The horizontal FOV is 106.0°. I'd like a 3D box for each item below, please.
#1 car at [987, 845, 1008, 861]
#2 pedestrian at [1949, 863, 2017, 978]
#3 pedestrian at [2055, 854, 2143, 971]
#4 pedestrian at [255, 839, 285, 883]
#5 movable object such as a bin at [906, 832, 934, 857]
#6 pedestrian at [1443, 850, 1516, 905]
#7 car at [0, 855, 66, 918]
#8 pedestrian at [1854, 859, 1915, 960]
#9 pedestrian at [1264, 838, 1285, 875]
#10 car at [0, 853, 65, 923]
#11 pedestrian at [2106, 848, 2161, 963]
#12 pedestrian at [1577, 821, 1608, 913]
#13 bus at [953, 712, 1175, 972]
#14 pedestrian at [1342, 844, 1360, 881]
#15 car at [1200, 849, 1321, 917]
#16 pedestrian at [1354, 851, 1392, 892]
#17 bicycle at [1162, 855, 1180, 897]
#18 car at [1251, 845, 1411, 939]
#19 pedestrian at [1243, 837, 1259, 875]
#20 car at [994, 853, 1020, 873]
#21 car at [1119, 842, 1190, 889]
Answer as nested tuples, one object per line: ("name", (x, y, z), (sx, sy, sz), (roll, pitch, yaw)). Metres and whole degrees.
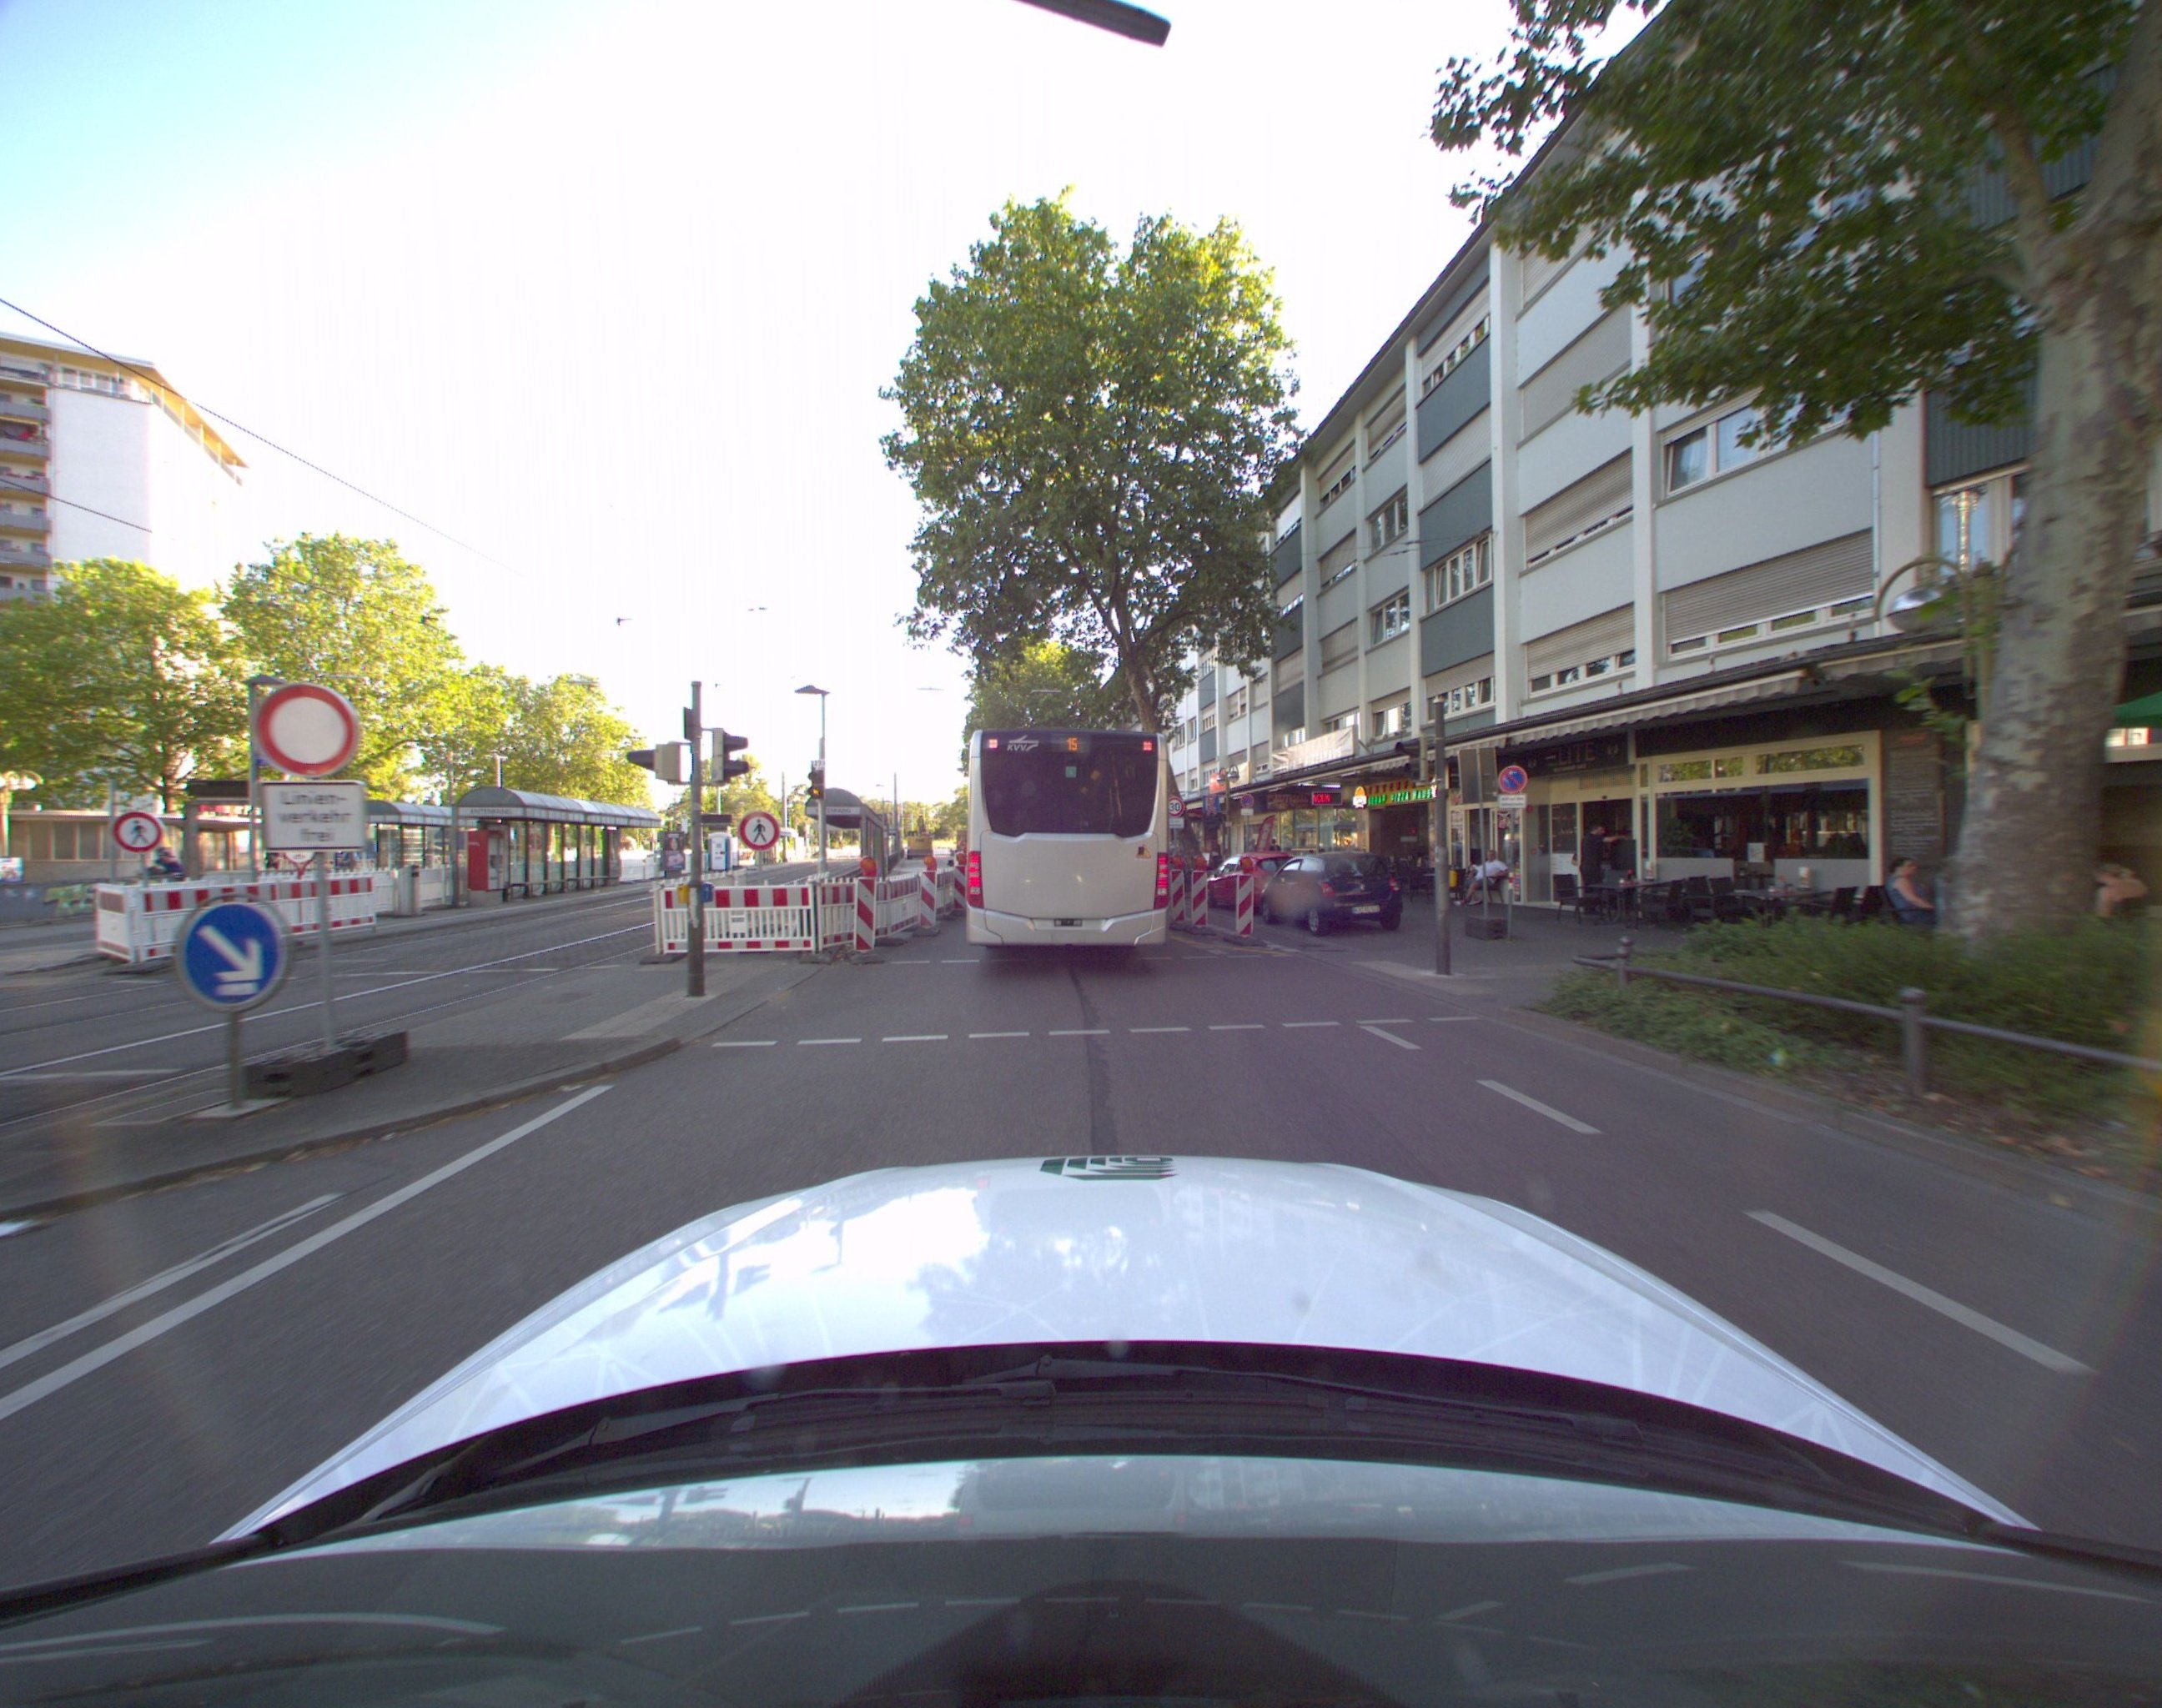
("car", (-7.675, -0.091, 74.658), (1.755, 1.464, 3.988), (-1, 1, -9))
("pedestrian", (10.119, 0.726, 9.138), (0.452, 1.237, 0.396), (-1, 0, -25))
("pedestrian", (11.083, 0.624, 8.874), (0.396, 1.237, 0.452), (-1, 0, 5))
("pedestrian", (-36.967, 0.310, 37.132), (0.710, 2.013, 0.738), (-1, 0, -19))
("movable object such as a bin", (-16.203, -0.941, 82.094), (2.493, 2.476, 5.339), (-1, 1, -9))
("pedestrian", (9.008, 0.514, 18.422), (1.177, 1.197, 0.924), (-1, 1, -7))
("car", (-27.467, 0.822, 19.324), (1.886, 1.531, 4.193), (-1, 0, -10))
("pedestrian", (10.260, 0.690, 10.403), (0.400, 1.237, 0.448), (-1, 0, -24))
("pedestrian", (6.646, 0.078, 27.983), (0.591, 1.256, 0.392), (-1, 0, -7))
("car", (-24.372, 0.760, 16.827), (1.886, 1.531, 4.193), (-1, 0, -10))
("pedestrian", (11.772, 0.553, 8.970), (0.396, 1.237, 0.452), (-1, 0, 5))
("pedestrian", (9.678, 0.242, 15.418), (0.356, 1.718, 0.309), (1, 1, 0))
("bus", (-0.487, -0.173, 14.912), (2.652, 3.098, 10.203), (0, 0, -3))
("pedestrian", (8.294, 0.254, 24.986), (0.387, 1.122, 0.391), (-1, 0, -8))
("car", (4.304, 0.631, 20.039), (1.662, 1.394, 3.401), (-4, 1, -10))
("pedestrian", (8.124, 0.479, 22.676), (0.704, 1.108, 0.764), (-1, 1, -7))
("bicycle", (2.810, 0.668, 25.364), (0.504, 1.211, 2.097), (0, 1, 8))
("car", (4.767, 0.646, 16.002), (1.661, 1.516, 3.403), (-4, 1, -8))
("pedestrian", (5.753, 0.069, 27.570), (0.387, 1.256, 0.391), (-1, 0, -8))
("car", (-5.603, 0.646, 61.999), (1.752, 1.464, 3.996), (-1, 1, -3))
("car", (2.565, 0.356, 29.078), (1.662, 1.468, 3.402), (-4, 1, -9))
